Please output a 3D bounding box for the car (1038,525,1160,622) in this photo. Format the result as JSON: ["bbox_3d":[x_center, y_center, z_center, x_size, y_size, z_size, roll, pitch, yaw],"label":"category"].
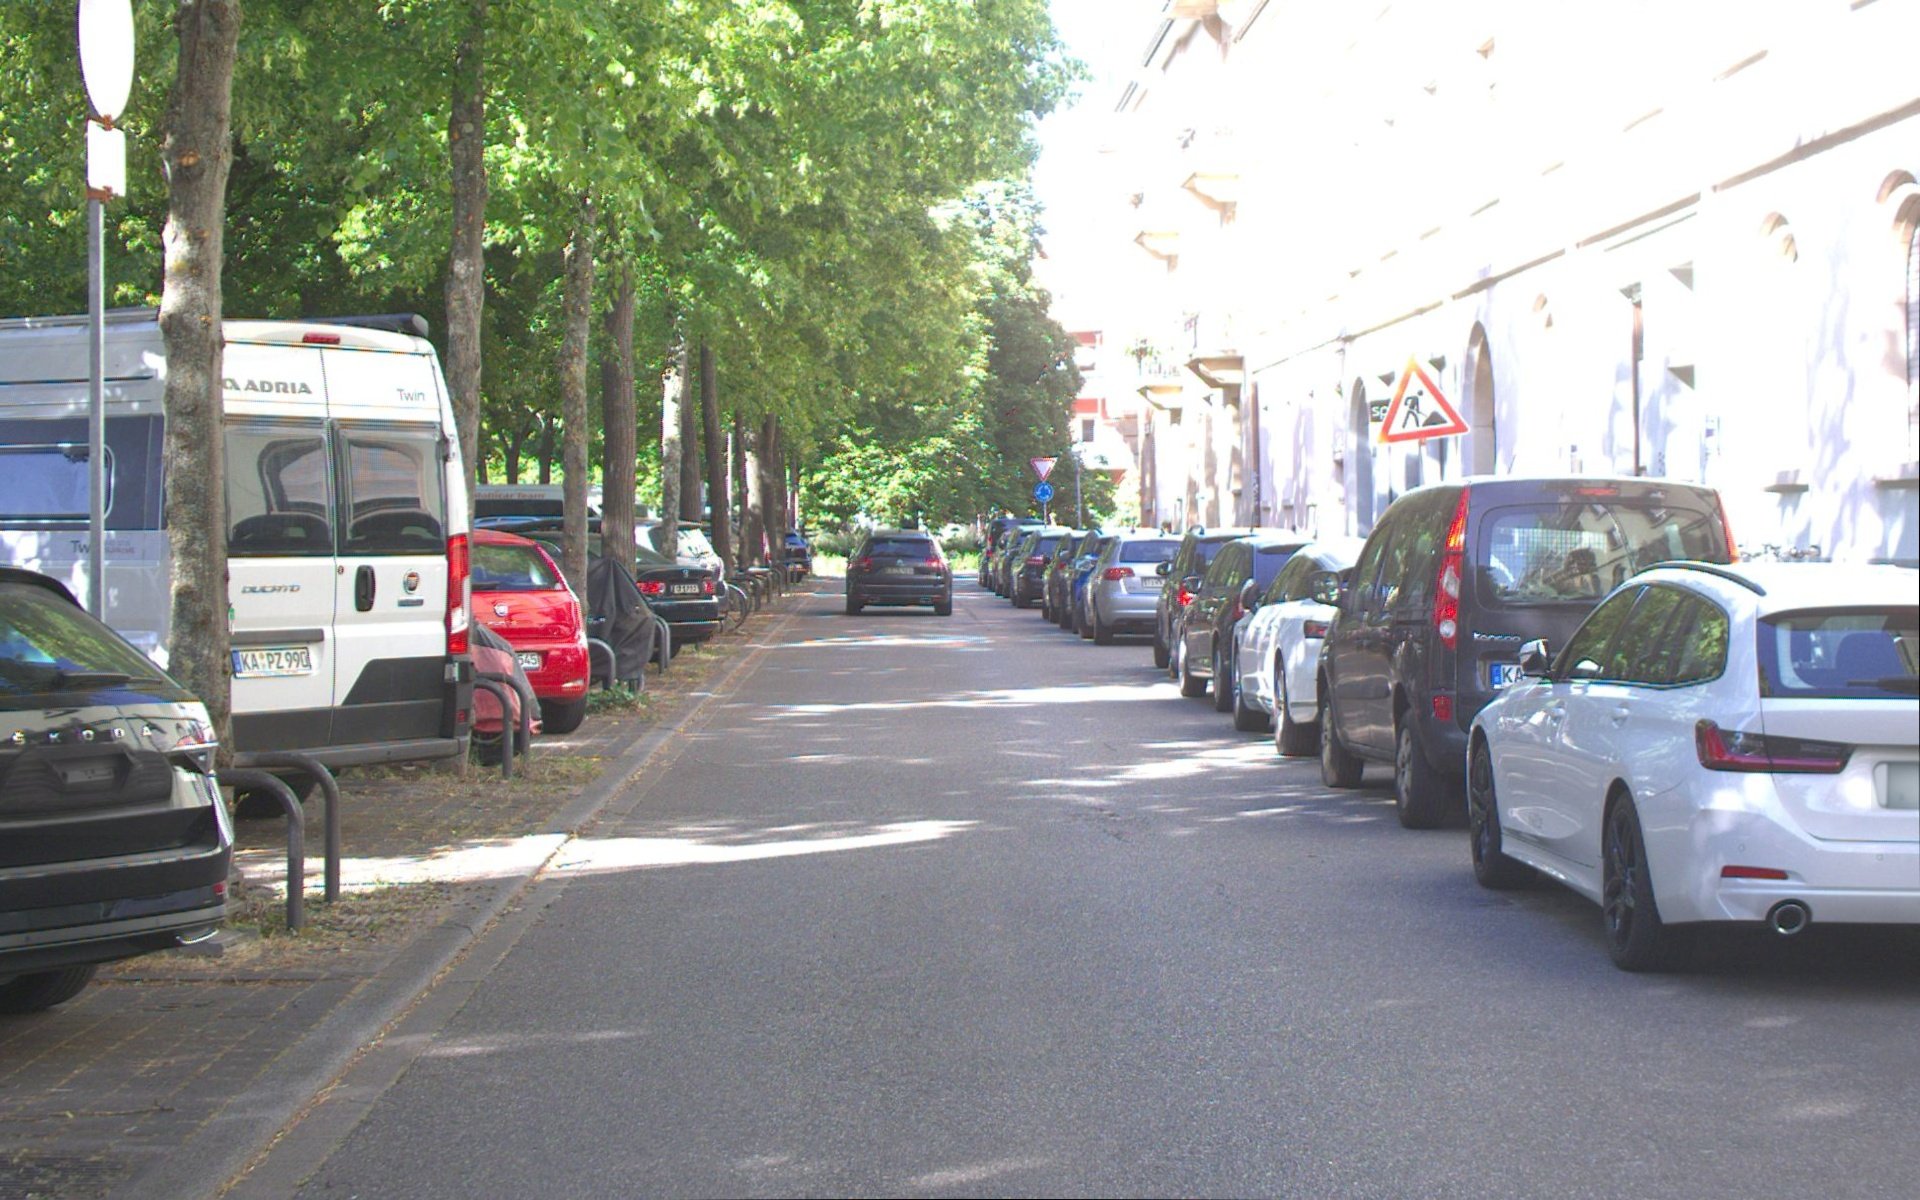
[{"bbox_3d":[2.175,-0.453,54.628,1.692,1.463,4.005,1,1,-1],"label":"car"}]

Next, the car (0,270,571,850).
[{"bbox_3d":[-5.242,-0.227,17.739,6.318,2.550,2.334,1,1,31],"label":"car"}]

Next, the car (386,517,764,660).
[{"bbox_3d":[-4.262,-0.123,37.826,4.015,1.469,1.623,0,2,34],"label":"car"}]

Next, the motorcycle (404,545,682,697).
[{"bbox_3d":[-3.468,0.162,28.674,2.148,1.225,0.881,0,1,8],"label":"motorcycle"}]

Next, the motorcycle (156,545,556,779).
[{"bbox_3d":[-3.680,0.356,21.013,2.318,1.330,0.969,-1,1,-10],"label":"motorcycle"}]

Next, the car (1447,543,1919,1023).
[{"bbox_3d":[3.086,0.561,13.324,1.704,1.506,4.284,-1,1,-1],"label":"car"}]

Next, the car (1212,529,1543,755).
[{"bbox_3d":[2.848,0.225,24.344,1.606,1.415,4.569,-1,1,-2],"label":"car"}]

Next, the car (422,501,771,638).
[{"bbox_3d":[-4.672,-0.413,44.121,4.082,1.647,1.860,1,1,26],"label":"car"}]

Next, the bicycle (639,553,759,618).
[{"bbox_3d":[-4.056,-0.227,53.456,1.812,0.990,0.425,0,1,14],"label":"bicycle"}]

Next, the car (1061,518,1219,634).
[{"bbox_3d":[2.325,-0.346,45.362,1.769,1.426,4.291,-1,1,-1],"label":"car"}]

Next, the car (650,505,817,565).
[{"bbox_3d":[-5.843,-1.655,88.506,4.087,1.461,1.867,1,0,-10],"label":"car"}]

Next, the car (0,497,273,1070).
[{"bbox_3d":[-4.220,0.502,10.327,4.093,1.520,1.699,0,-2,29],"label":"car"}]

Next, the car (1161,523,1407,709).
[{"bbox_3d":[2.753,0.087,29.949,1.599,1.487,3.967,-1,1,-2],"label":"car"}]

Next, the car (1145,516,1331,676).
[{"bbox_3d":[2.804,-0.082,35.346,1.580,1.545,4.042,0,1,0],"label":"car"}]

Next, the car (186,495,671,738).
[{"bbox_3d":[-3.942,0.089,25.075,1.659,1.612,3.879,-2,2,-41],"label":"car"}]

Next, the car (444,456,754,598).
[{"bbox_3d":[-7.820,-1.546,74.571,6.069,2.614,2.453,-4,-1,15],"label":"car"}]

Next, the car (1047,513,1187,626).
[{"bbox_3d":[2.256,-0.476,50.247,1.767,1.546,4.184,-1,1,-1],"label":"car"}]

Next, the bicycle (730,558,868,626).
[{"bbox_3d":[-2.237,-0.115,47.835,1.900,0.916,0.379,1,1,19],"label":"bicycle"}]

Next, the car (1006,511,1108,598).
[{"bbox_3d":[1.813,-0.890,65.391,1.805,1.558,4.321,-1,1,0],"label":"car"}]

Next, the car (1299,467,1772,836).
[{"bbox_3d":[3.035,0.208,18.922,1.771,1.787,3.990,-1,1,-2],"label":"car"}]

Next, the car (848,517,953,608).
[{"bbox_3d":[-1.001,-0.684,59.785,1.714,1.478,4.145,-1,1,0],"label":"car"}]
